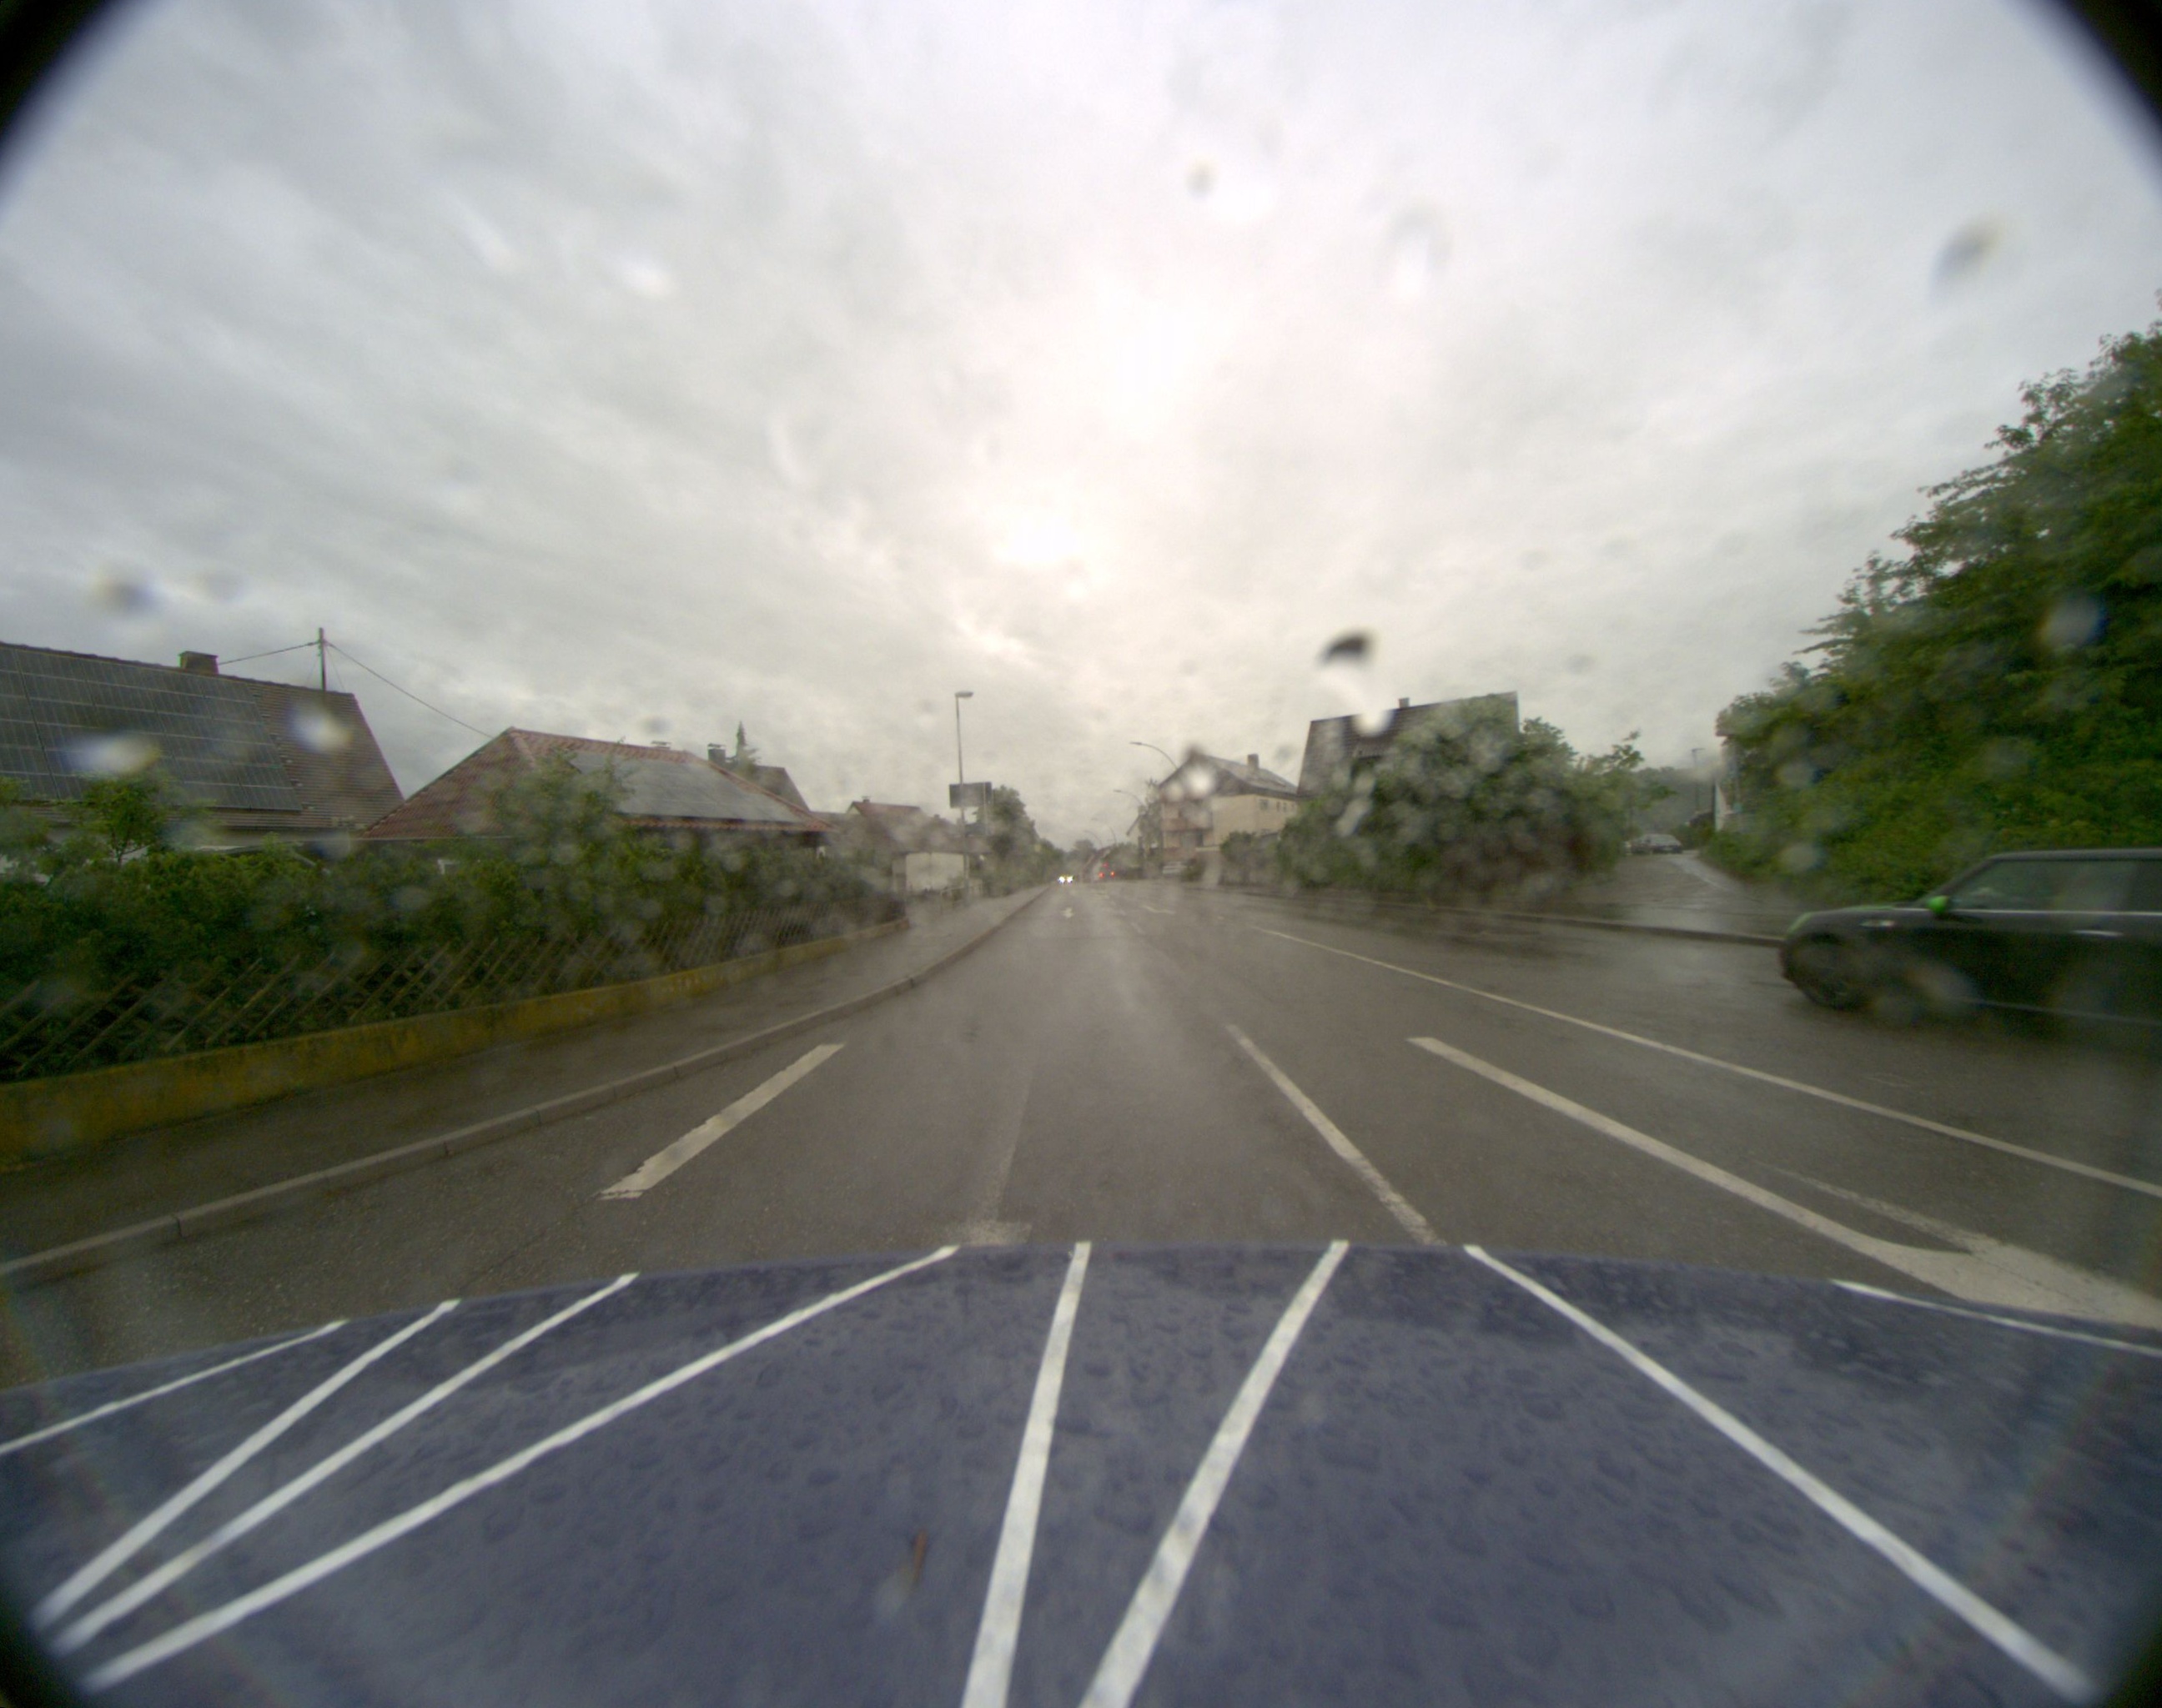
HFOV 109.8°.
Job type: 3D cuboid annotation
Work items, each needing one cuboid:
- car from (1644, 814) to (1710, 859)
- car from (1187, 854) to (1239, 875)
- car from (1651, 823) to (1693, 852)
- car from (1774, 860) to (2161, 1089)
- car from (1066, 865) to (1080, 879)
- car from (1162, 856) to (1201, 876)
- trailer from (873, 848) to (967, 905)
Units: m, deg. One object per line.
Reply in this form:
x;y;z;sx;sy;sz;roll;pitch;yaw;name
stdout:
22.966;-0.670;29.215;1.706;1.579;3.669;-2;0;42;car
10.631;0.851;61.267;3.661;1.510;1.758;-3;0;35;car
41.128;-1.145;52.852;1.995;1.848;4.008;-3;0;41;car
7.497;0.762;5.427;1.681;1.379;3.458;-2;0;-9;car
-1.211;2.830;118.598;1.998;2.002;4.000;-3;0;1;car
8.904;1.061;67.036;1.864;1.510;4.007;-3;0;32;car
-7.740;1.021;36.976;1.645;2.502;4.712;-3;-1;29;trailer
